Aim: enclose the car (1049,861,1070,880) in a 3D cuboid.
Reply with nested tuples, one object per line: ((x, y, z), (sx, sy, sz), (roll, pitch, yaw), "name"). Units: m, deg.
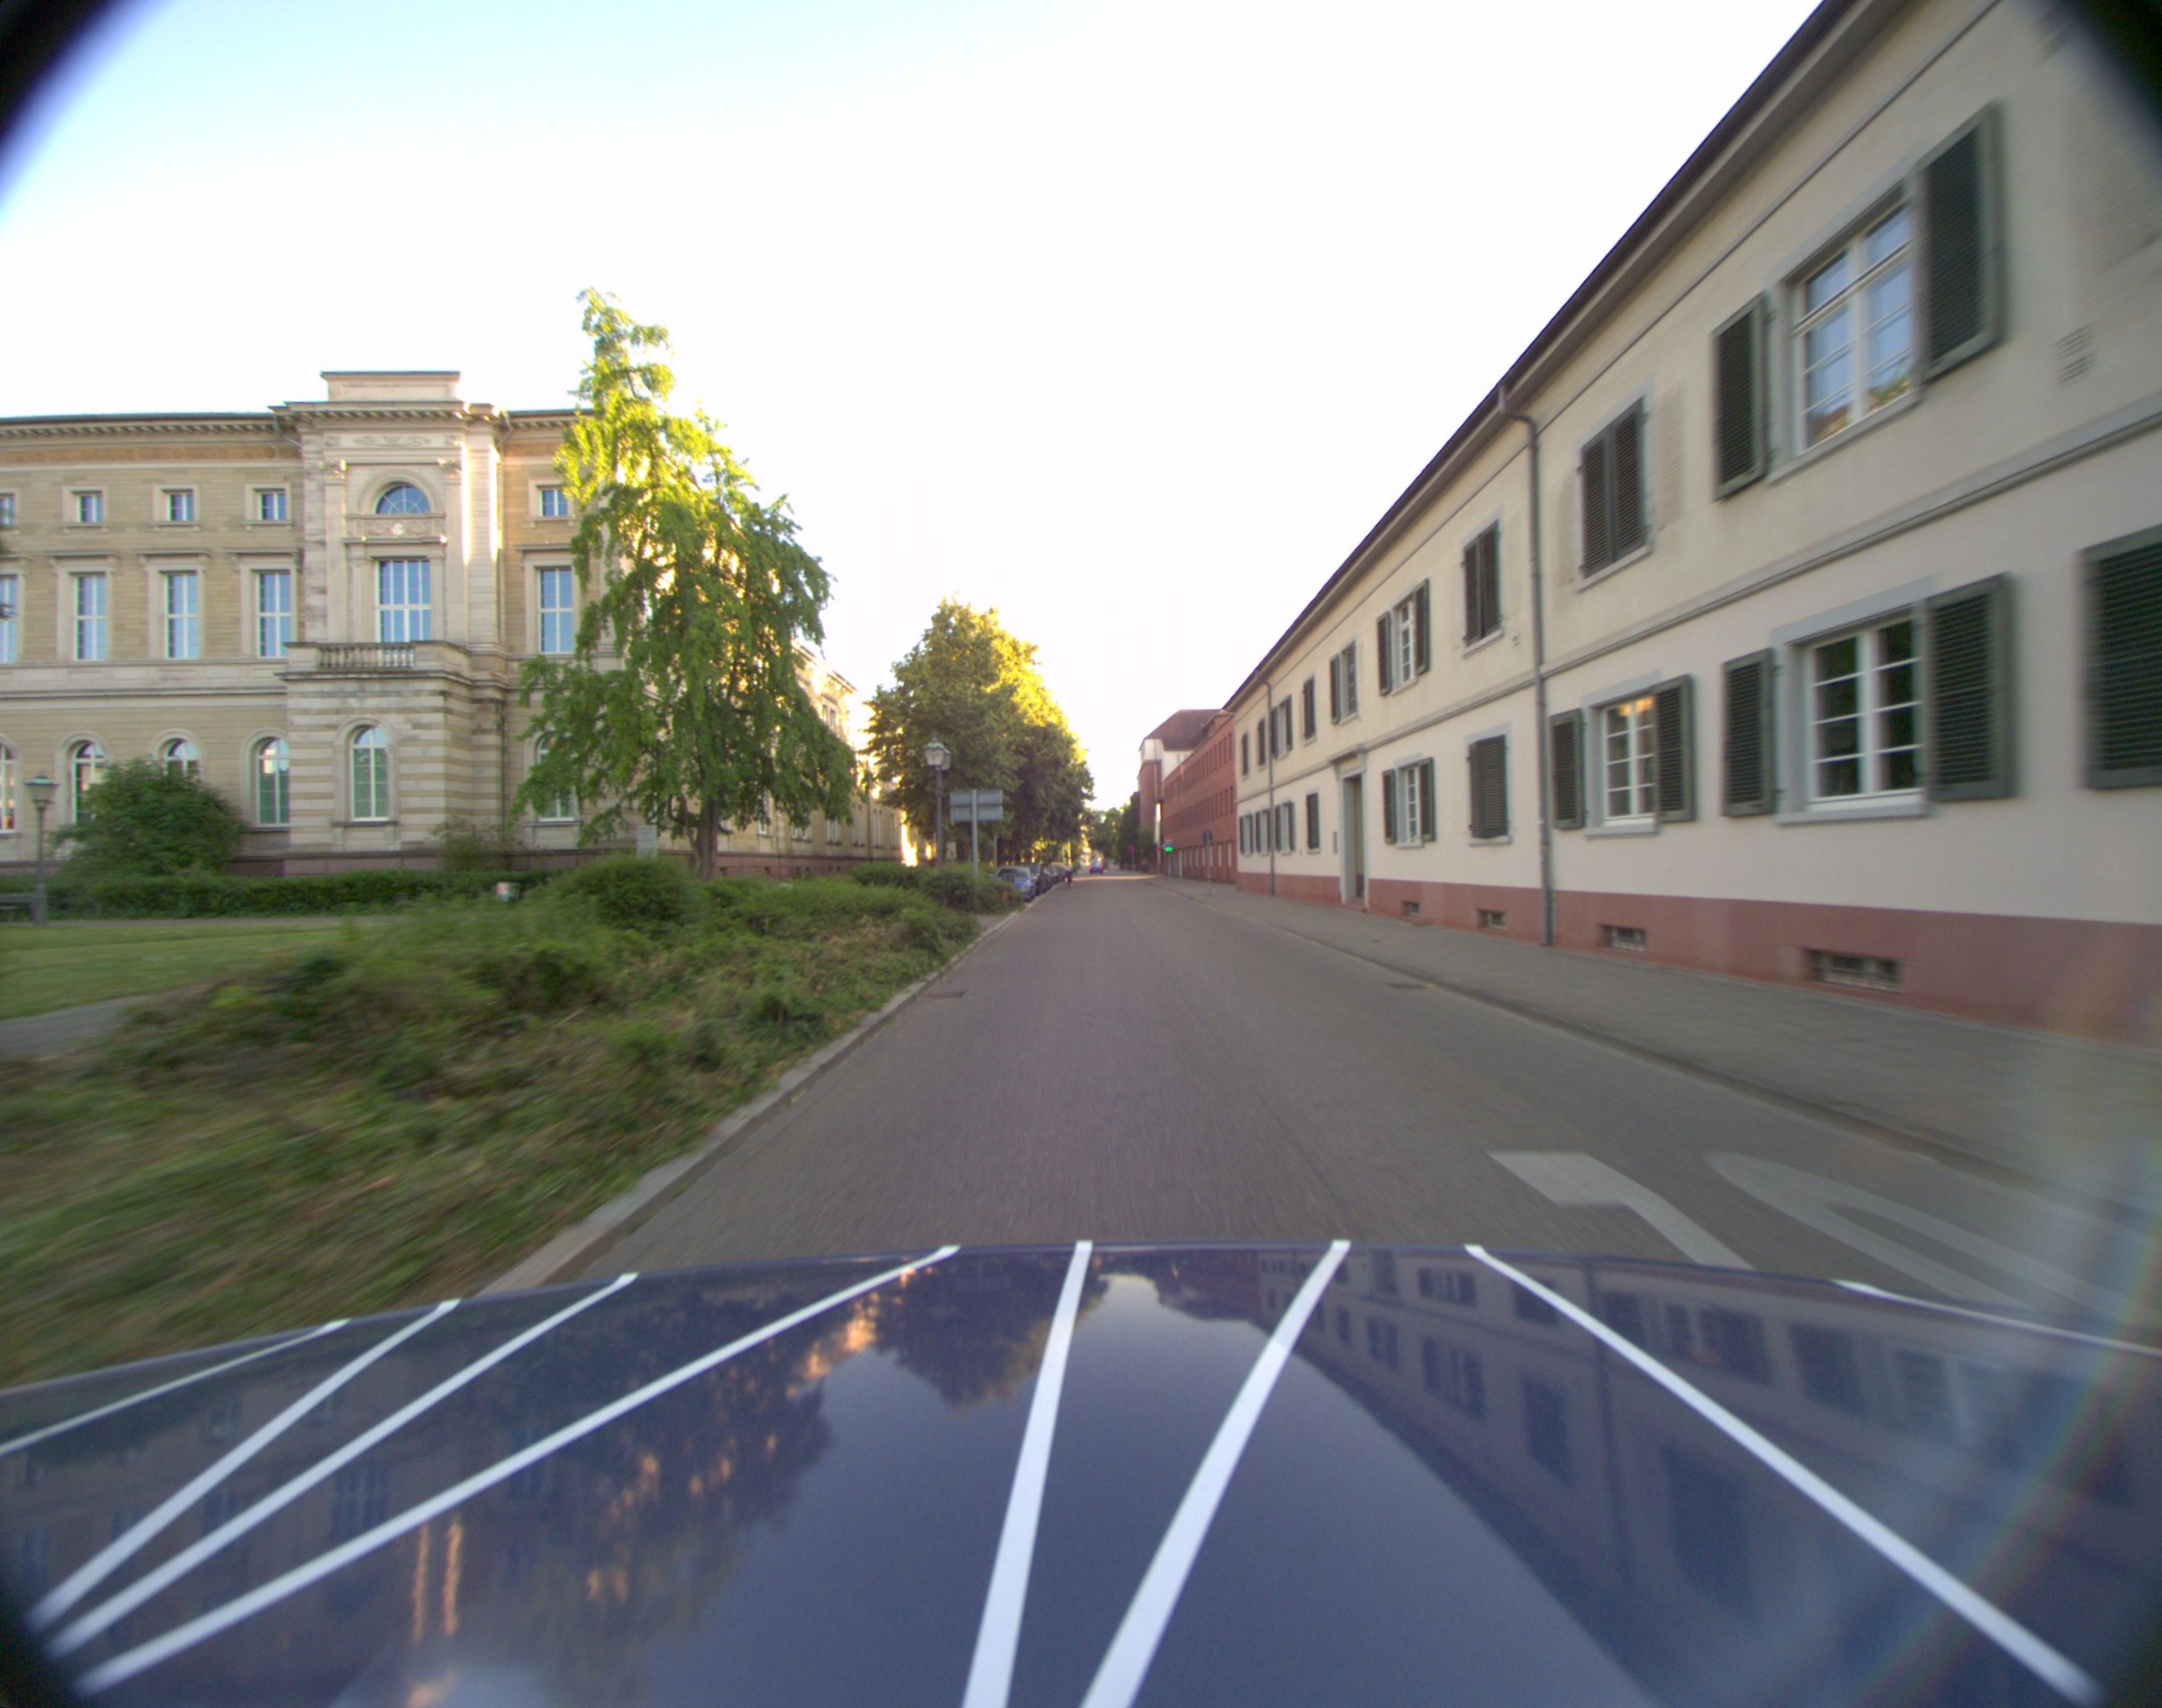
((-1.980, 1.525, 71.686), (1.728, 1.524, 4.622), (4, 0, 0), "car")

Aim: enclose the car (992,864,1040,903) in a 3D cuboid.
((-2.758, 1.224, 33.099), (1.728, 1.479, 4.610), (3, 0, -1), "car")

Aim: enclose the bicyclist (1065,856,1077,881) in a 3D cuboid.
((-0.671, 0.967, 49.789), (0.753, 1.603, 1.038), (-1, 0, -2), "bicyclist")

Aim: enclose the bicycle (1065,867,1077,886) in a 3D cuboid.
((-0.689, 1.449, 49.768), (0.753, 1.245, 2.210), (-1, -1, -2), "bicycle")

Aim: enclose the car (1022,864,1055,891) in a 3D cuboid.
((-2.475, 1.345, 45.040), (1.728, 1.529, 4.190), (0, -1, 0), "car")

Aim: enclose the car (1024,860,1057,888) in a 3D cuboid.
((-2.615, 1.304, 49.940), (1.811, 1.641, 4.419), (3, -1, 0), "car")

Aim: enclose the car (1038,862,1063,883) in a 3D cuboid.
((-2.406, 1.445, 61.263), (1.739, 1.498, 4.522), (3, 0, 0), "car")

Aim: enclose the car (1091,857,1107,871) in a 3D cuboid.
((2.569, 1.485, 110.269), (1.999, 1.863, 5.109), (-1, -2, -3), "car")

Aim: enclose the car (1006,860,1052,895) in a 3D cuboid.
((-2.590, 1.140, 38.847), (1.728, 1.642, 4.714), (0, 0, 4), "car")
